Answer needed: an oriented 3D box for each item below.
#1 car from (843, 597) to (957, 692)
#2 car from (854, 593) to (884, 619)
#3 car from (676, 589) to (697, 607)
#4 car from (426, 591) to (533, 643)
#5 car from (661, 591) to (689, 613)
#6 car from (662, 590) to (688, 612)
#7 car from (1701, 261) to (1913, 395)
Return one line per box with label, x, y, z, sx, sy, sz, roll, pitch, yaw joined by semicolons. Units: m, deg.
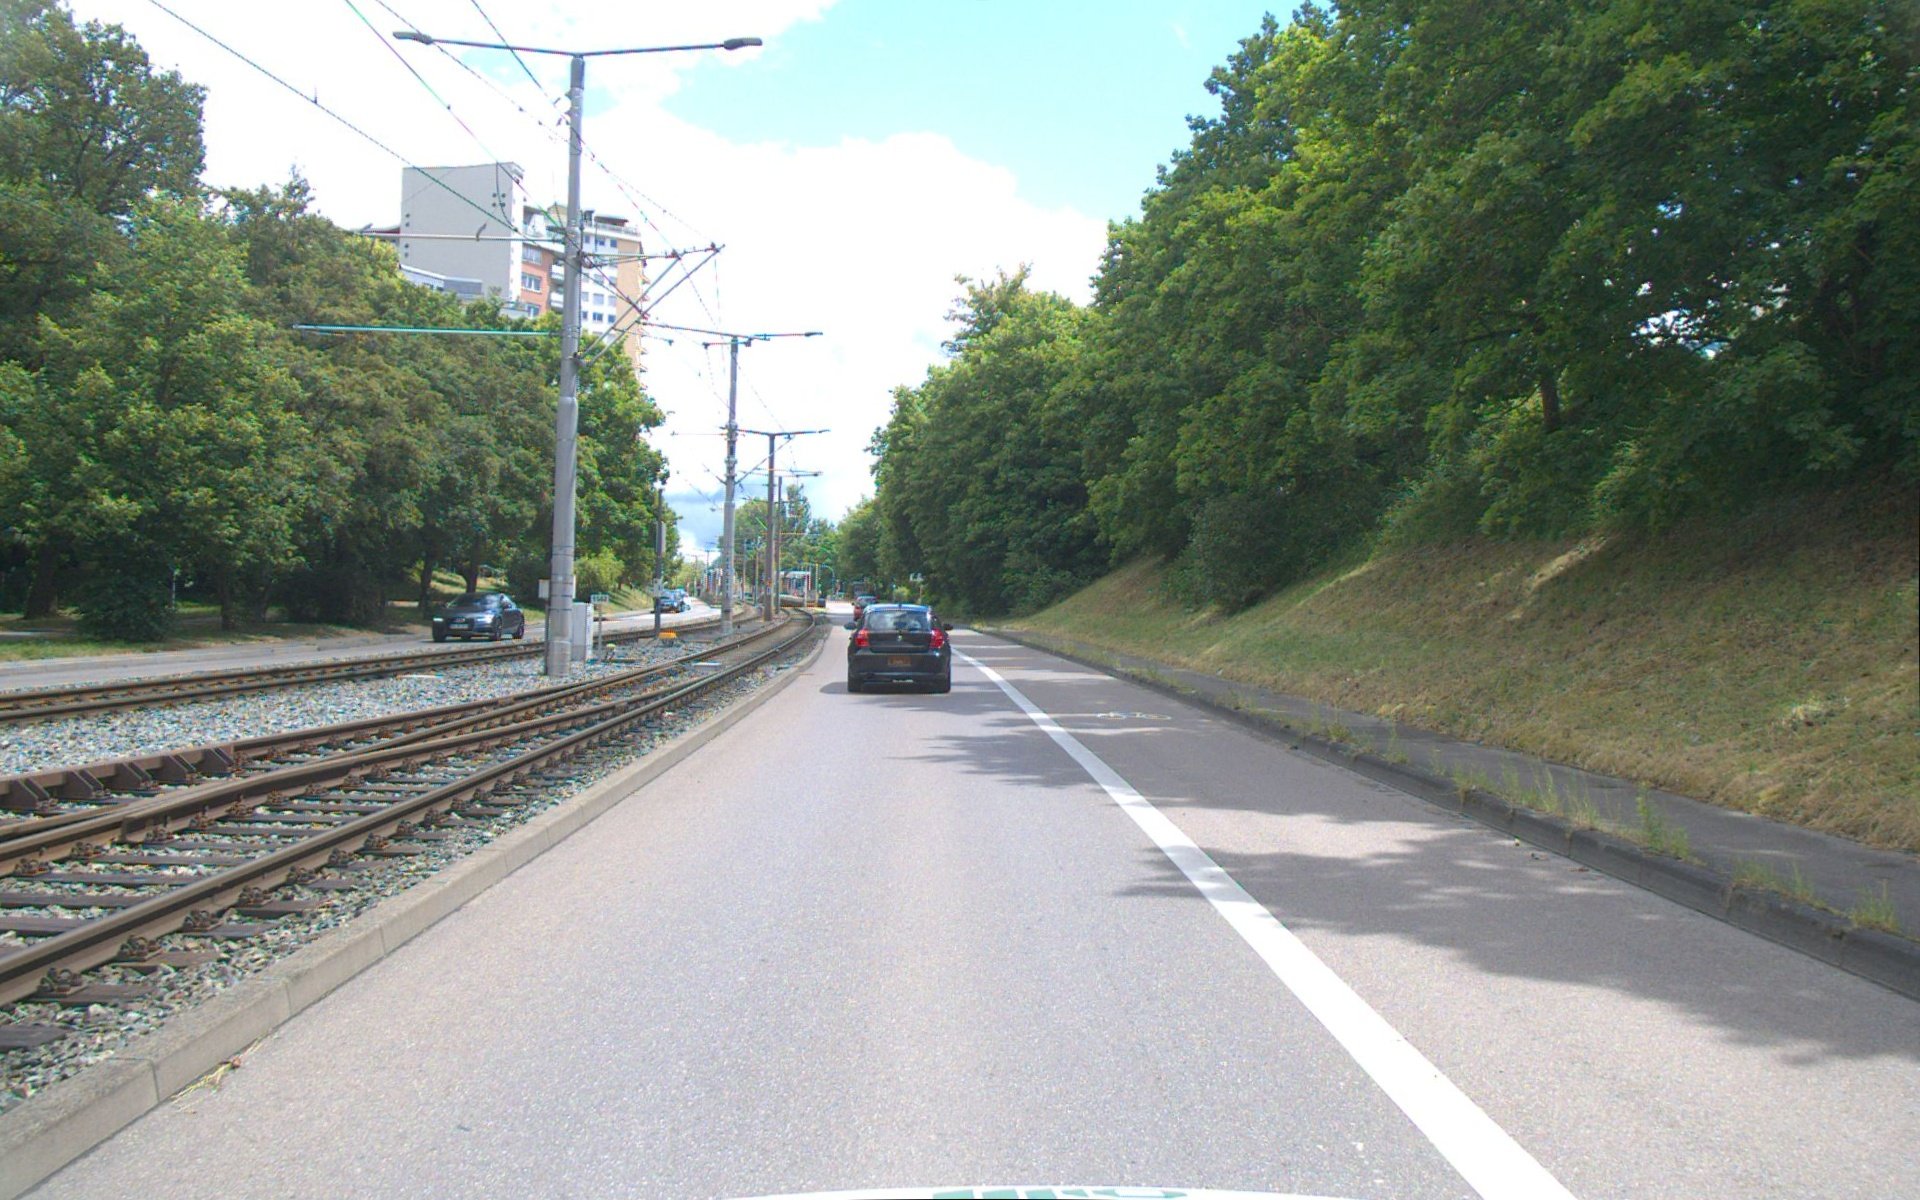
car;-1.081;0.694;28.038;1.746;1.485;3.917;0;0;-5
car;-5.478;0.354;99.246;1.746;1.485;3.917;1;0;-4
car;-23.809;-0.180;143.717;1.749;1.559;4.234;0;0;-10
car;-14.230;0.477;49.253;1.798;1.415;4.861;-1;0;-1
car;-20.717;0.138;120.233;1.740;1.525;3.991;1;0;-7
car;-21.814;0.098;126.752;1.740;1.658;4.375;0;-1;-7
car;15.034;-4.782;29.596;1.611;1.717;4.042;1;0;-2
